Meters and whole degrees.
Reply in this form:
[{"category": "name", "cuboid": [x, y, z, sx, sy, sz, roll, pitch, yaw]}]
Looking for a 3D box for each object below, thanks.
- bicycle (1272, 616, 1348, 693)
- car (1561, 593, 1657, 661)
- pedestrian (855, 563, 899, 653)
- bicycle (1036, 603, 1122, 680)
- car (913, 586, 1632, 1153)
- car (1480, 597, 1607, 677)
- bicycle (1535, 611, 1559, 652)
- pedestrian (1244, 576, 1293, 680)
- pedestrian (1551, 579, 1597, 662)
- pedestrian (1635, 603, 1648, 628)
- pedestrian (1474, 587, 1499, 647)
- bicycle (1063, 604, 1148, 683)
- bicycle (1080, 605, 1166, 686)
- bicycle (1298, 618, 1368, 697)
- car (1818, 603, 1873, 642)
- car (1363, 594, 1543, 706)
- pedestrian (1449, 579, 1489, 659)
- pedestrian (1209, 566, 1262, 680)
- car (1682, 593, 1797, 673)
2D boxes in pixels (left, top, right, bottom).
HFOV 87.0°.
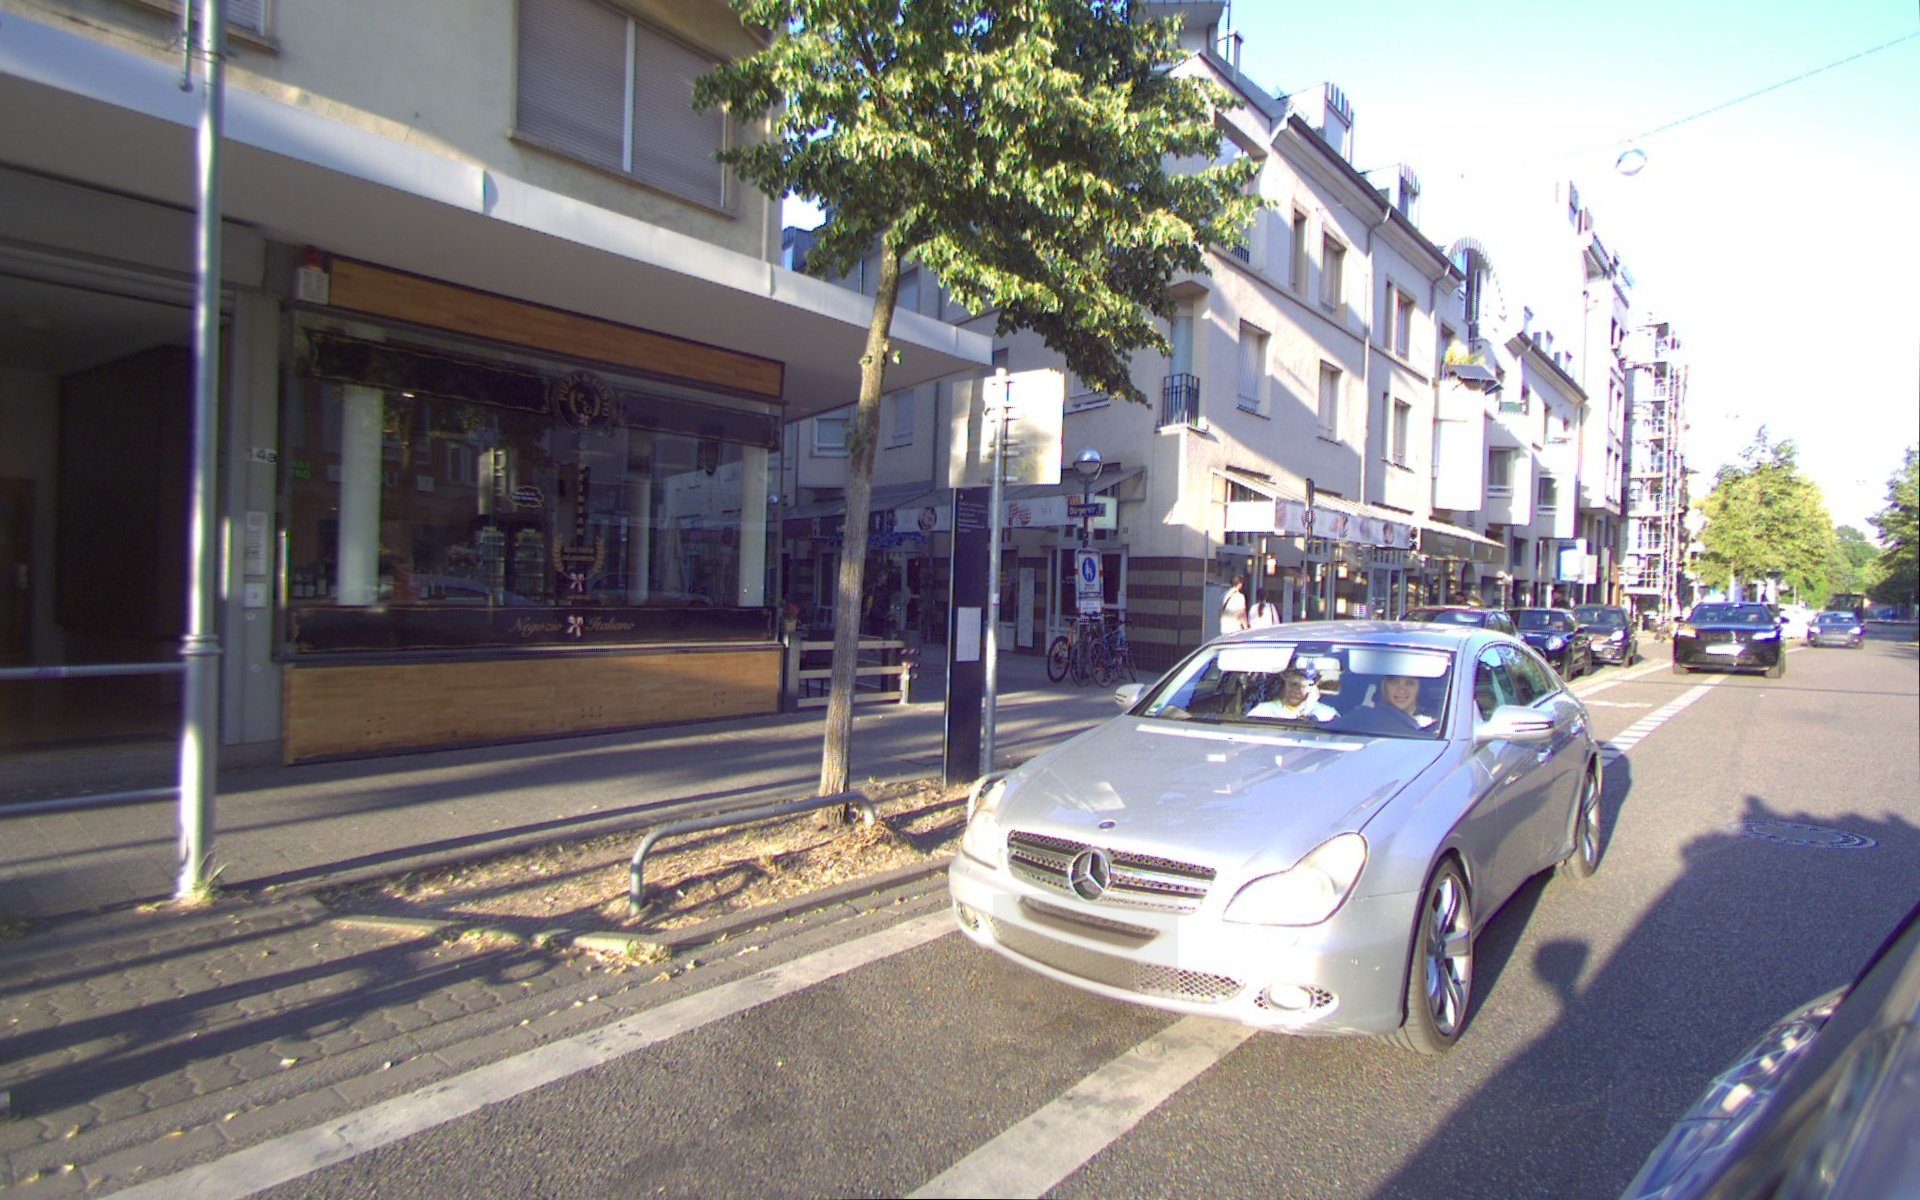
[{"category": "bicycle", "cuboid": [5.241, 0.783, 15.094, 0.314, 1.059, 1.853, 3, 2, 43]}, {"category": "car", "cuboid": [17.151, 0.650, 26.664, 1.615, 1.612, 3.868, 2, 1, 40]}, {"category": "pedestrian", "cuboid": [-1.639, 0.146, 19.971, 0.688, 1.696, 0.799, 2, 2, -13]}, {"category": "bicycle", "cuboid": [1.879, 0.612, 15.725, 0.320, 1.118, 1.851, 2, 1, 41]}, {"category": "car", "cuboid": [1.951, 0.672, 4.959, 1.740, 1.418, 4.573, 1, 2, 40]}, {"category": "car", "cuboid": [12.249, 0.710, 21.156, 1.615, 1.452, 3.868, 3, 2, 40]}, {"category": "bicycle", "cuboid": [16.220, 0.860, 27.943, 0.295, 1.099, 1.441, 1, 1, 41]}, {"category": "pedestrian", "cuboid": [4.930, 0.437, 16.171, 0.519, 1.612, 0.402, 5, 3, 41]}, {"category": "pedestrian", "cuboid": [14.411, 0.475, 23.739, 0.776, 1.907, 0.660, -2, -2, 41]}, {"category": "pedestrian", "cuboid": [36.279, 0.820, 53.867, 0.490, 1.279, 0.415, 0, 0, 42]}, {"category": "pedestrian", "cuboid": [16.286, 0.520, 31.309, 0.574, 1.823, 0.443, 0, 0, 42]}, {"category": "bicycle", "cuboid": [2.236, 0.633, 15.404, 0.290, 1.118, 1.859, 2, 1, 41]}, {"category": "bicycle", "cuboid": [2.468, 0.646, 15.190, 0.320, 1.118, 1.851, 2, 1, 41]}, {"category": "bicycle", "cuboid": [5.501, 0.814, 14.868, 0.314, 1.059, 1.638, 3, 2, 43]}, {"category": "car", "cuboid": [35.662, 0.858, 40.815, 1.616, 1.492, 3.634, 0, 0, 41]}, {"category": "car", "cuboid": [7.771, 0.687, 15.780, 1.587, 1.451, 3.868, 4, 2, 40]}, {"category": "pedestrian", "cuboid": [11.640, 0.418, 23.140, 0.629, 1.771, 0.660, 3, 2, 41]}, {"category": "pedestrian", "cuboid": [4.448, 0.360, 16.343, 0.543, 1.779, 0.495, 5, 3, 41]}, {"category": "car", "cuboid": [17.903, 0.681, 23.162, 1.884, 1.656, 4.165, 0, 0, 41]}]
